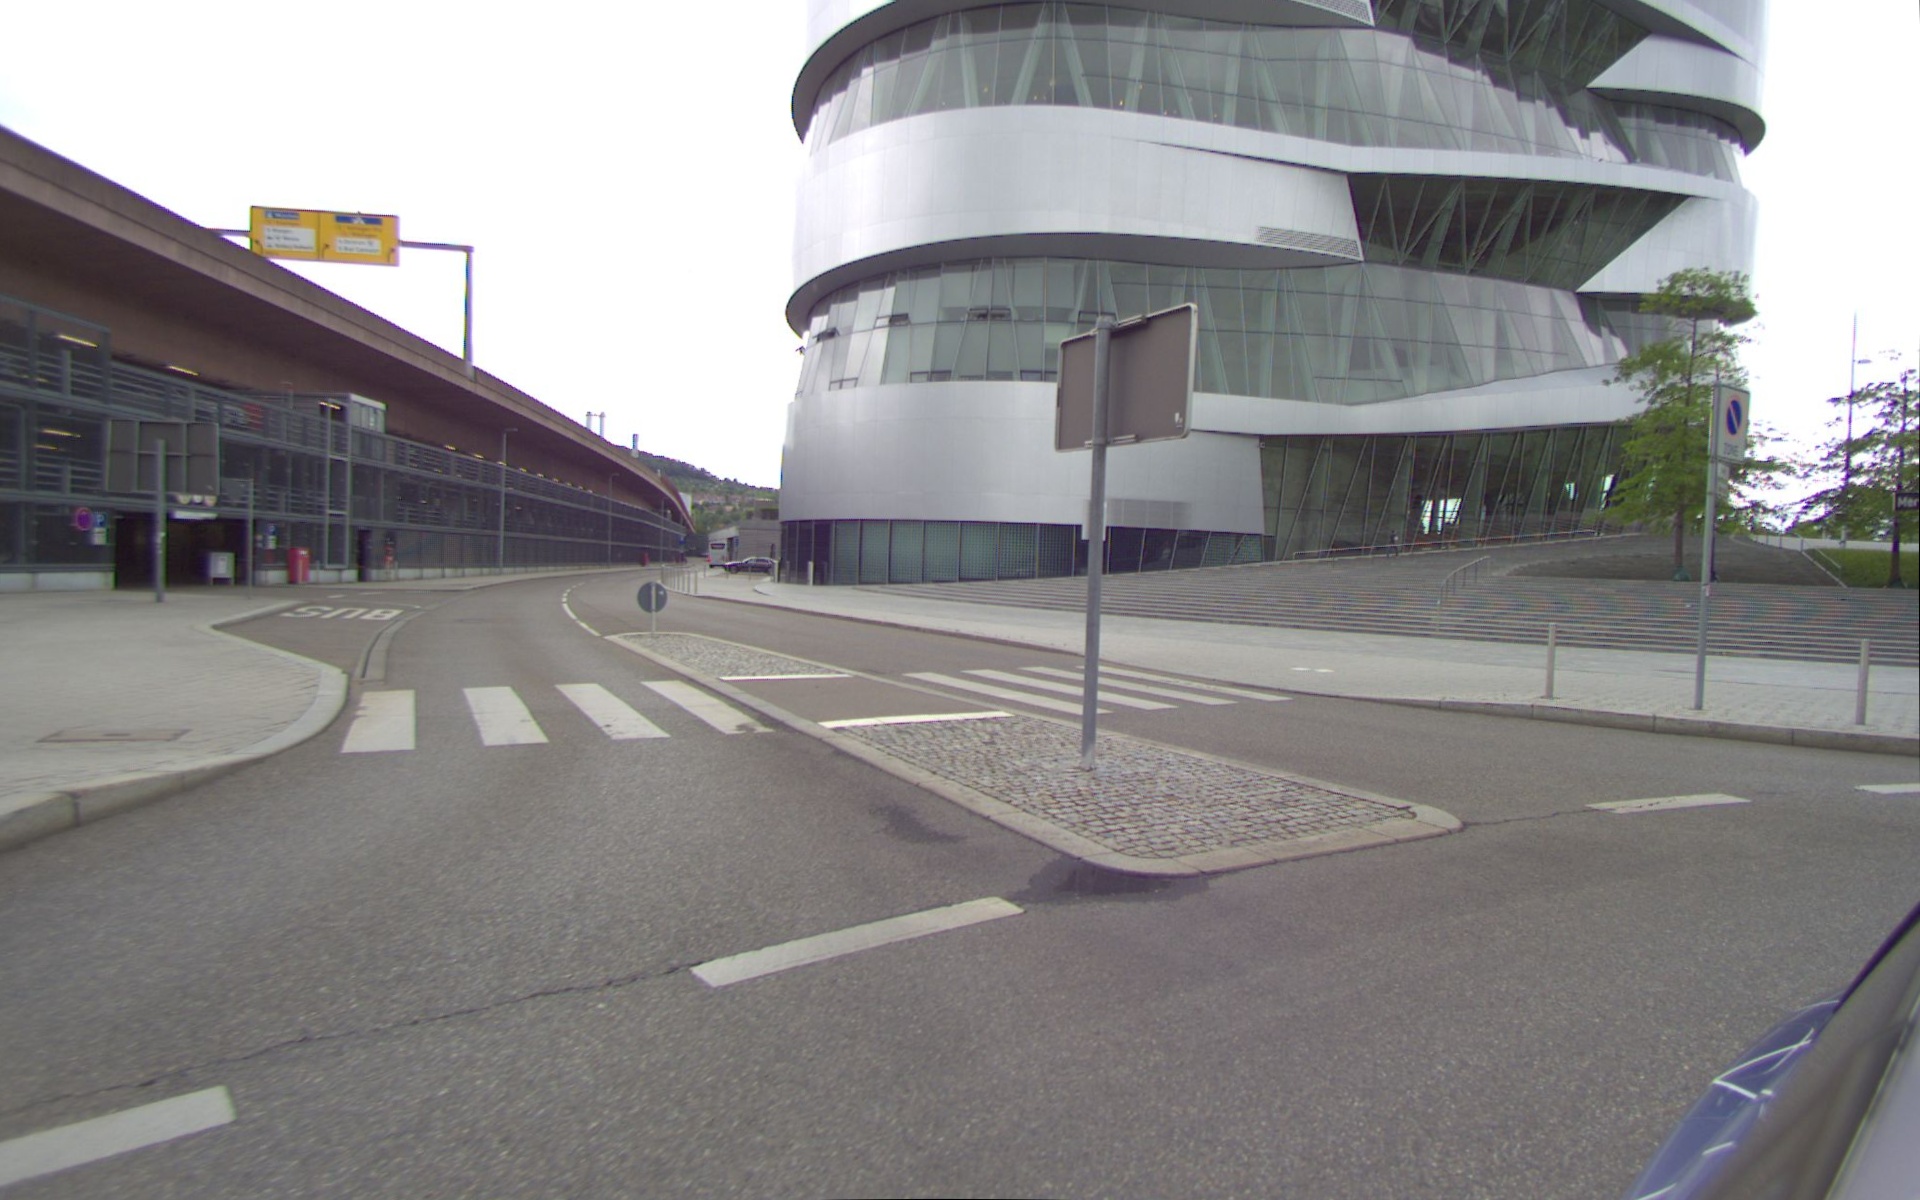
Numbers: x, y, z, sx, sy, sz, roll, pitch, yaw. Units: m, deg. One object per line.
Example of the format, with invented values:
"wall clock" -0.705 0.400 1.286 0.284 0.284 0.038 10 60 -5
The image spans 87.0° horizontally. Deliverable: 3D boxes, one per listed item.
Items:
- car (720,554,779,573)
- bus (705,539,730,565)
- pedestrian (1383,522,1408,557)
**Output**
"car" -18.017 -3.138 86.766 4.807 1.415 1.537 2 1 -7
"bus" -33.541 -6.602 140.257 2.871 3.484 6.982 2 1 -11
"pedestrian" 24.654 -3.413 57.289 0.932 1.948 0.855 -2 2 -18
